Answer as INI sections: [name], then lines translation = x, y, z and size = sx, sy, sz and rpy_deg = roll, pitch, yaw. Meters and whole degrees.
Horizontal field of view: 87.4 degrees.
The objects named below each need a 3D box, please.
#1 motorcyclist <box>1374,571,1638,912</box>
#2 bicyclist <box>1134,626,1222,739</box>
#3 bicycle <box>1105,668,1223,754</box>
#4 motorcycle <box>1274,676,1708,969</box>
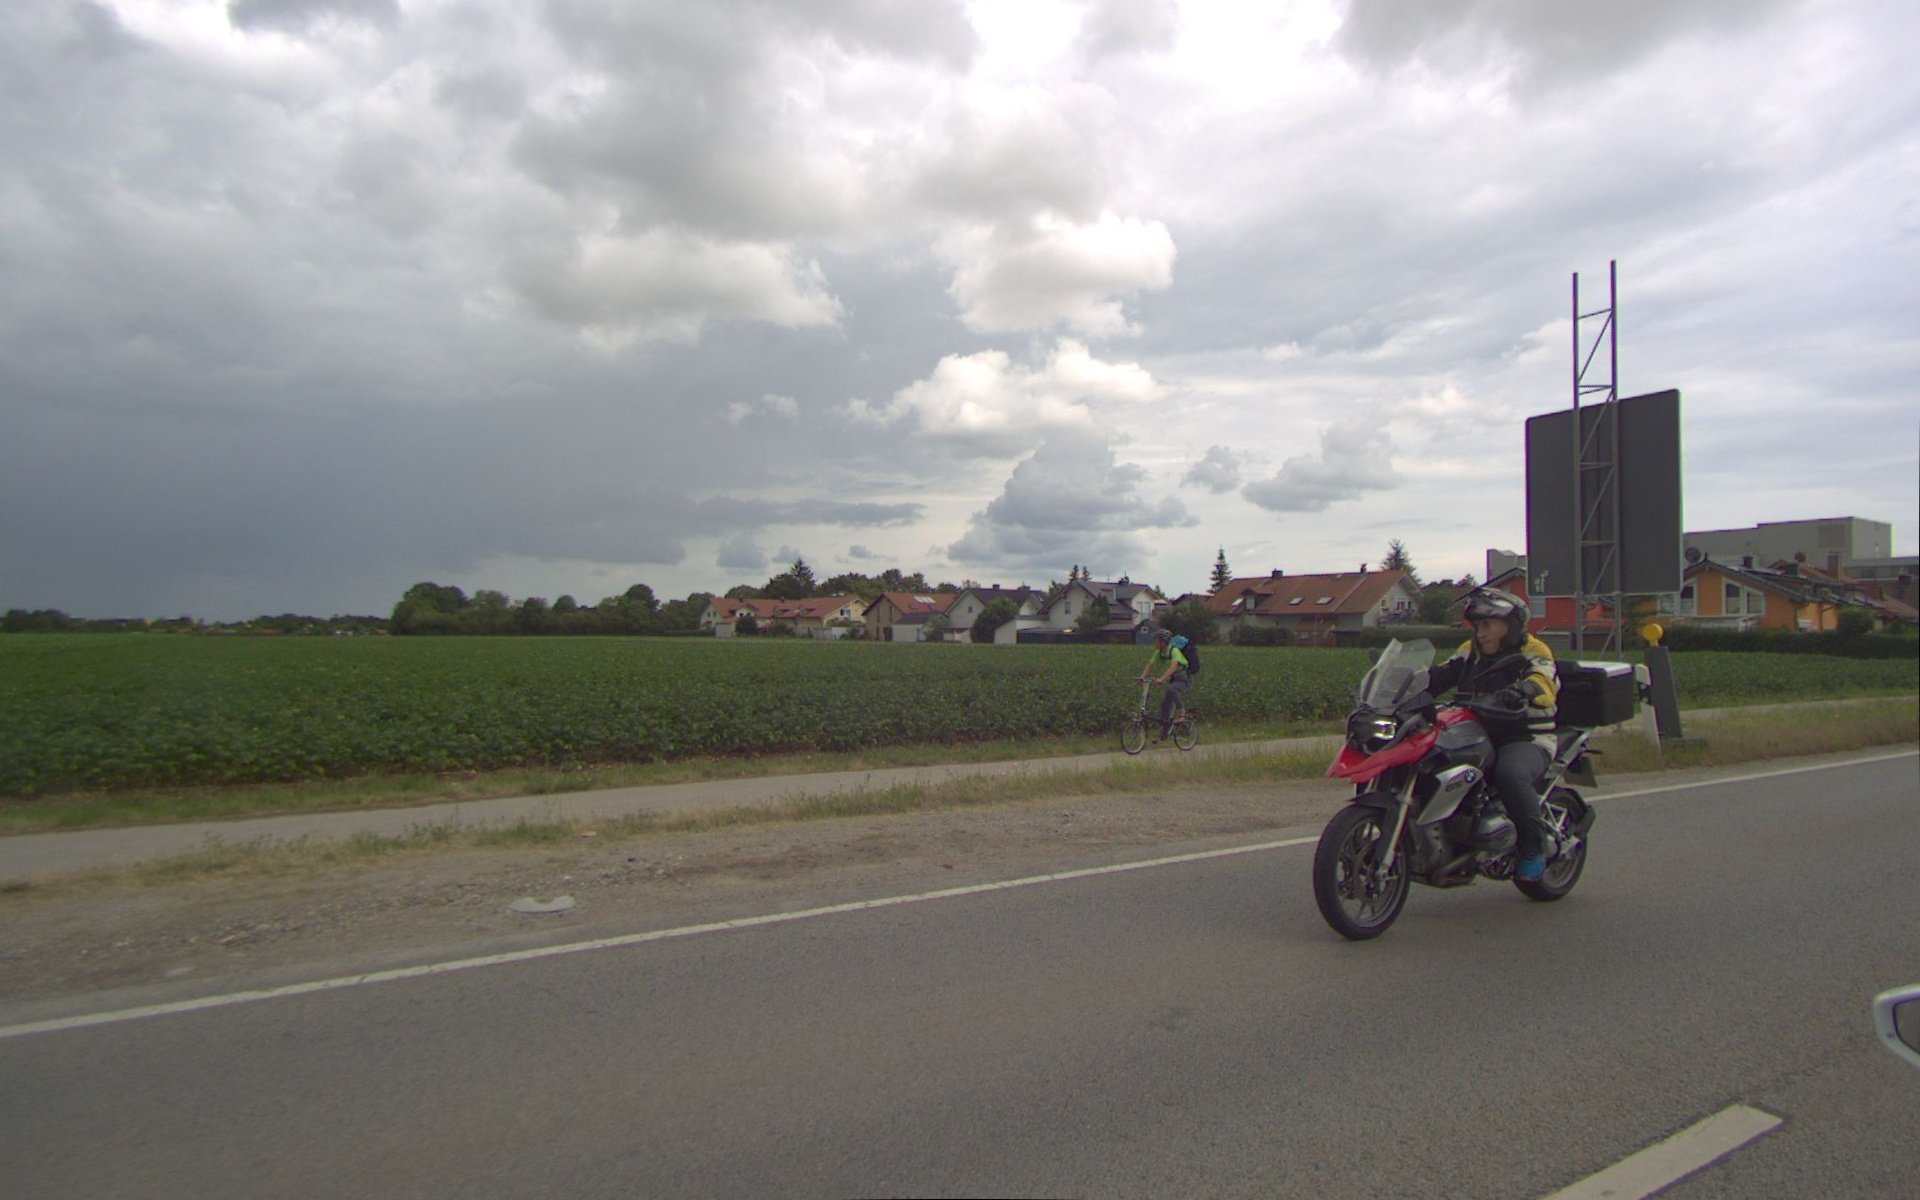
[motorcyclist]
translation = 2.885, 0.682, 5.326
size = 1.065, 1.594, 0.793
rpy_deg = 1, -2, -30
[bicyclist]
translation = 3.214, 1.199, 14.788
size = 1.208, 1.605, 0.527
rpy_deg = 1, -3, -30
[bicycle]
translation = 2.984, 1.582, 14.630
size = 1.773, 1.171, 0.527
rpy_deg = 1, -4, -31
[motorcycle]
translation = 2.869, 1.027, 5.304
size = 2.590, 1.173, 0.793
rpy_deg = 1, -2, -30
